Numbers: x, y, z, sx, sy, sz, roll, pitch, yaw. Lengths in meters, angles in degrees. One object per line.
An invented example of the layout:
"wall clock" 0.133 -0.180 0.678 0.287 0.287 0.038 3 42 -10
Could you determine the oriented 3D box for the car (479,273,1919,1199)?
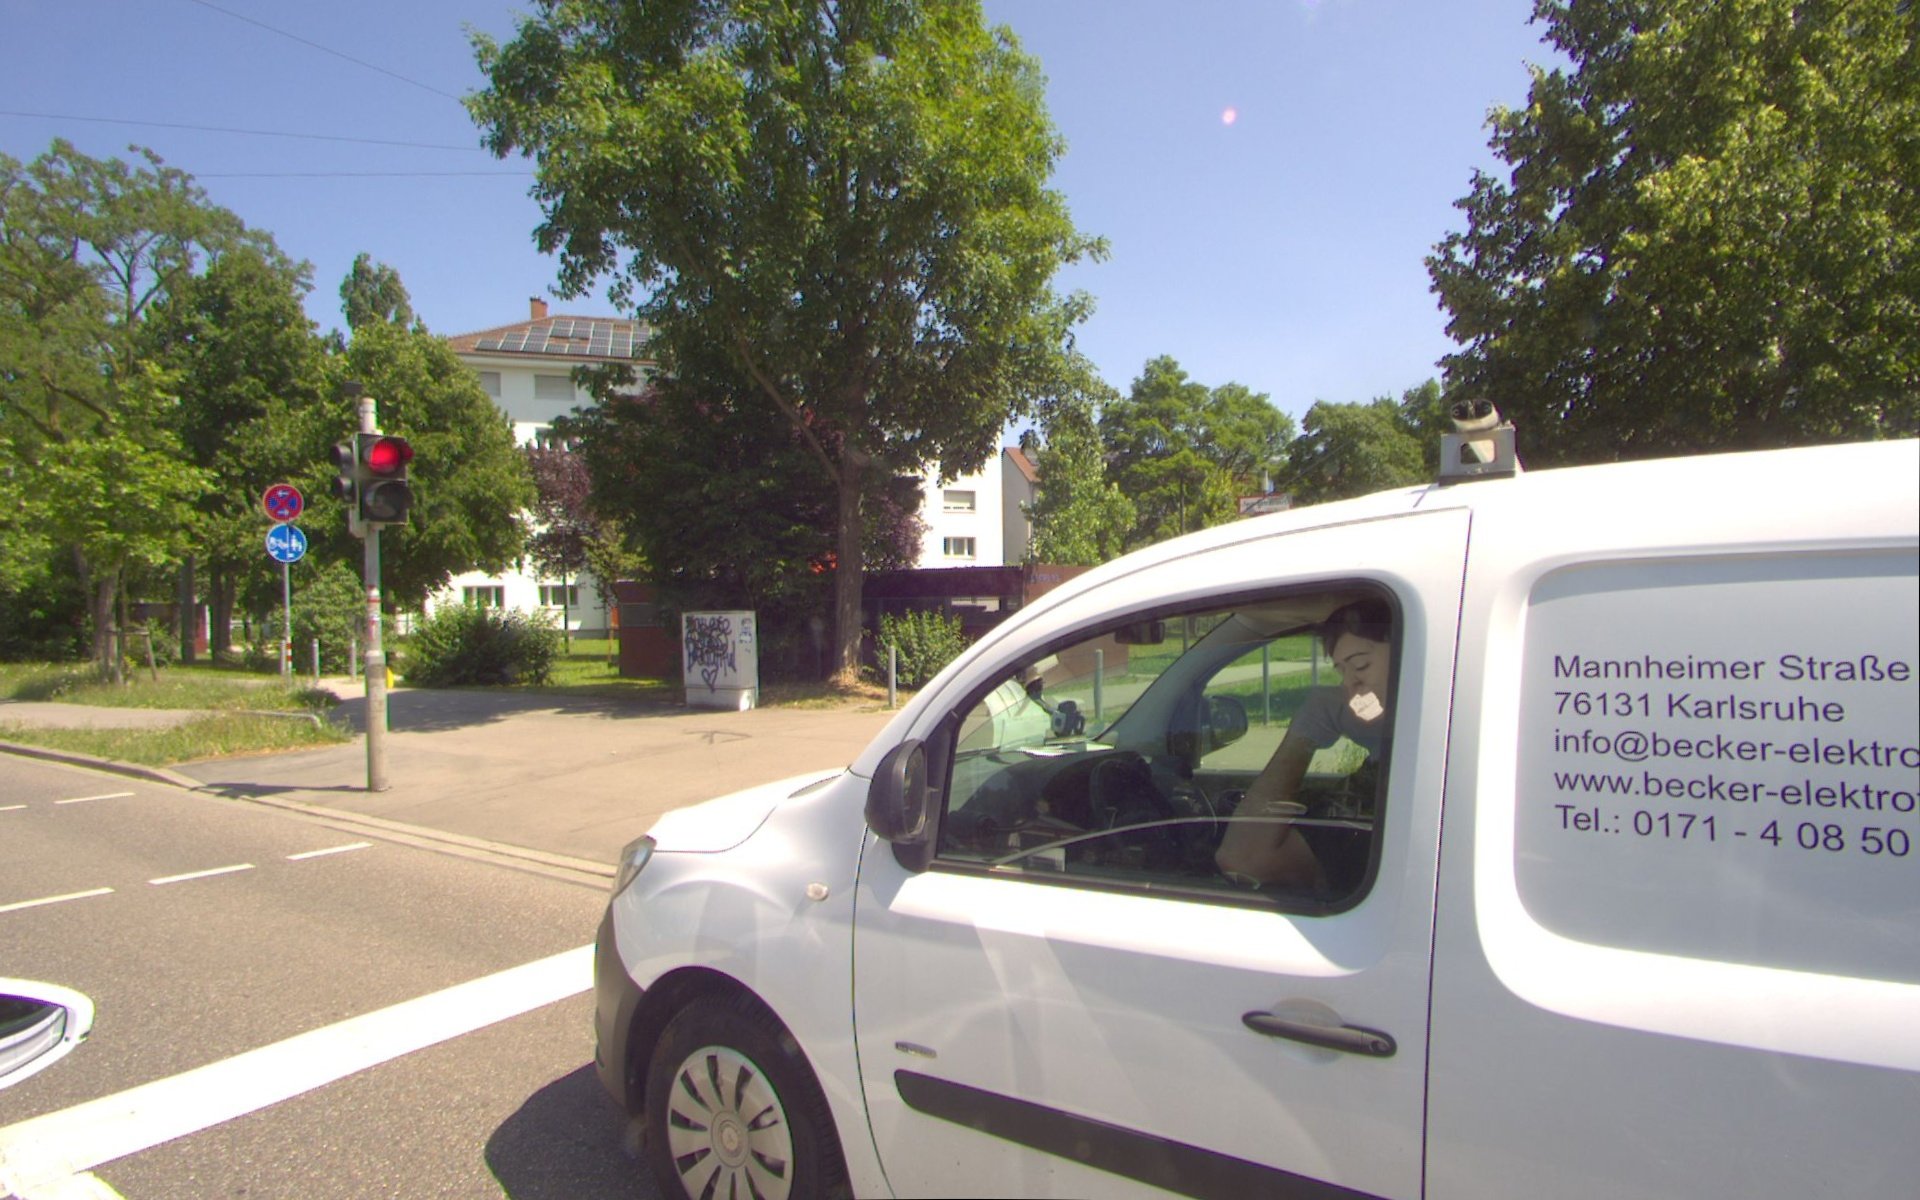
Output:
"car" 1.109 0.571 2.306 4.384 1.850 1.990 -1 0 32
